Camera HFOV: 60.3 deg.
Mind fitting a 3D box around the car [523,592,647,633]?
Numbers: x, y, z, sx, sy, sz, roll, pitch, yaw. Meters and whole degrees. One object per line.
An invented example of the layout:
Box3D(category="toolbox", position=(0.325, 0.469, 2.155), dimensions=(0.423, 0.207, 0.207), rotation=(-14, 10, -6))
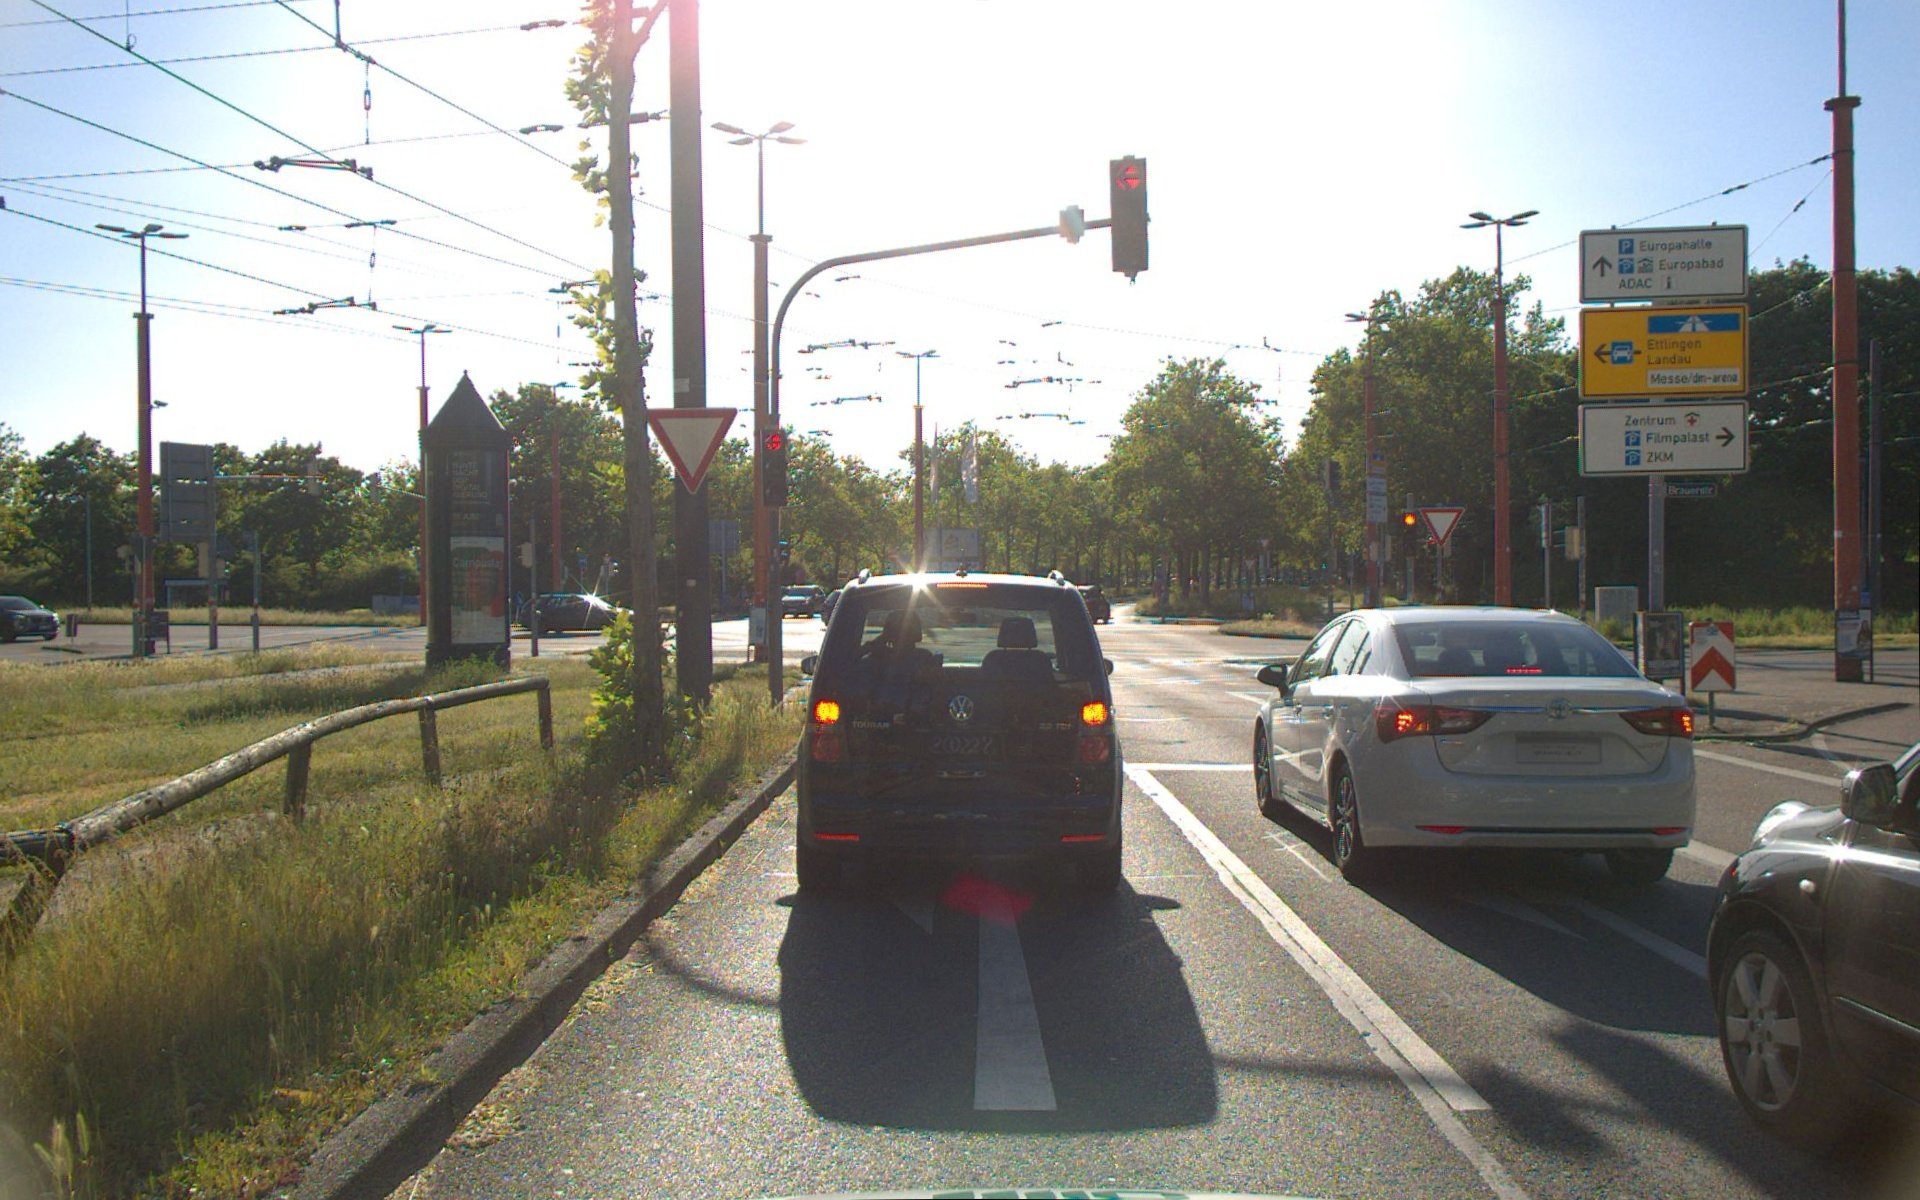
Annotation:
Box3D(category="car", position=(-13.899, 0.445, 61.485), dimensions=(4.138, 1.489, 1.915), rotation=(0, 0, 2))

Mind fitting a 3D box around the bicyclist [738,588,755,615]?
Box3D(category="bicyclist", position=(-12.198, 0.084, 94.453), dimensions=(0.678, 1.483, 0.875), rotation=(0, 0, 17))

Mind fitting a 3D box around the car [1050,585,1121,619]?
Box3D(category="car", position=(5.742, 0.066, 75.209), dimensions=(1.869, 1.489, 4.372), rotation=(0, 0, 24))

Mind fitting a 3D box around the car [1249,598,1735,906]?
Box3D(category="car", position=(2.950, 0.738, 10.122), dimensions=(1.679, 1.480, 4.144), rotation=(0, 0, 0))

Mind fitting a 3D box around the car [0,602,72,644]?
Box3D(category="car", position=(-36.960, 0.862, 64.279), dimensions=(4.539, 1.570, 1.999), rotation=(0, 0, 24))

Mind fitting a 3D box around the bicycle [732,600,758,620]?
Box3D(category="bicycle", position=(-12.228, 0.559, 94.233), dimensions=(0.719, 1.109, 1.962), rotation=(0, 0, 18))

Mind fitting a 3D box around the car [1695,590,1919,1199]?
Box3D(category="car", position=(3.130, 0.741, 3.523), dimensions=(1.525, 1.532, 3.515), rotation=(0, 0, -1))

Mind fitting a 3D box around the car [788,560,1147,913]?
Box3D(category="car", position=(0.009, 0.641, 9.878), dimensions=(1.702, 1.670, 3.999), rotation=(0, 0, -1))

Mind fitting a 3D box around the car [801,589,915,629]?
Box3D(category="car", position=(-3.928, 0.328, 63.396), dimensions=(3.988, 1.489, 1.901), rotation=(0, 0, -23))

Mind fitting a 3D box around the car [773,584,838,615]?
Box3D(category="car", position=(-8.645, -0.035, 93.104), dimensions=(1.951, 1.714, 4.831), rotation=(0, 0, 17))
